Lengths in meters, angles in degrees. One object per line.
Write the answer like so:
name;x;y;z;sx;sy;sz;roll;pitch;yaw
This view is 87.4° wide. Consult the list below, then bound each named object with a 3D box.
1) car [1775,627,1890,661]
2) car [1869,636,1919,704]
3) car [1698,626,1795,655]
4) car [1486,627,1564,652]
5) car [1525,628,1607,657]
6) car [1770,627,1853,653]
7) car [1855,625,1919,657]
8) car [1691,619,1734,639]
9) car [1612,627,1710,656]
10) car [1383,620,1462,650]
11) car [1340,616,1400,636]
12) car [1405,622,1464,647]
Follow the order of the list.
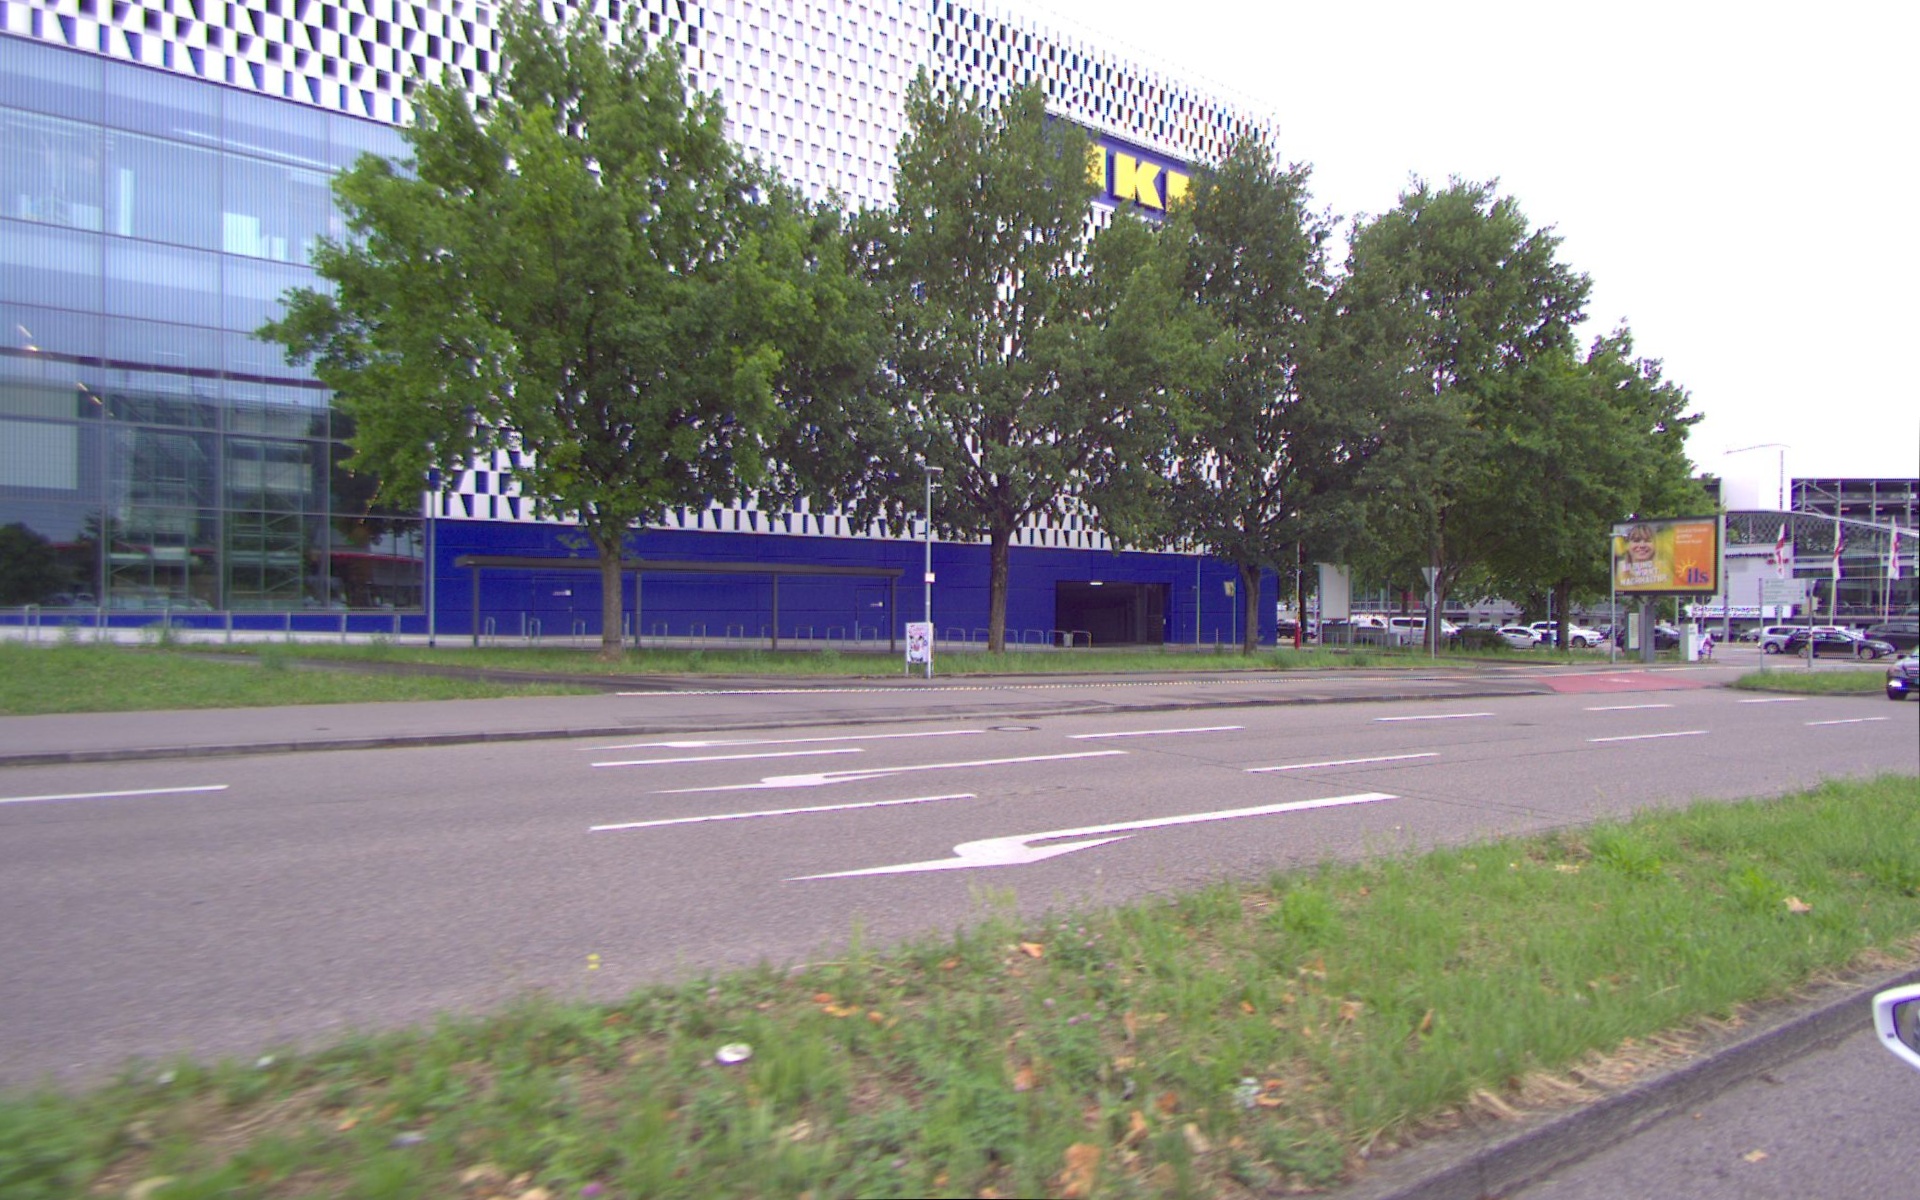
car;47.432;2.364;54.682;1.981;1.682;4.385;1;0;-36
car;23.134;1.581;23.204;4.475;1.499;1.784;1;-2;-29
car;47.298;2.390;60.477;1.981;1.529;4.218;-1;1;-36
car;38.524;2.692;68.589;1.973;1.532;4.202;0;0;-33
car;41.727;2.883;69.224;1.980;1.734;4.404;-3;2;-35
car;56.775;2.631;67.024;1.743;1.589;3.915;-1;1;-36
car;53.785;2.295;56.857;1.981;1.666;4.370;-1;1;-37
car;60.449;2.301;80.644;3.494;1.505;1.590;-1;1;-31
car;42.809;2.525;61.418;1.981;1.682;4.512;1;-1;-36
car;34.298;2.533;74.651;1.860;1.991;5.101;-3;2;-33
car;33.536;2.096;82.286;1.973;1.524;4.202;0;0;-33
car;36.543;2.661;77.379;1.859;1.770;3.741;-1;0;-31
